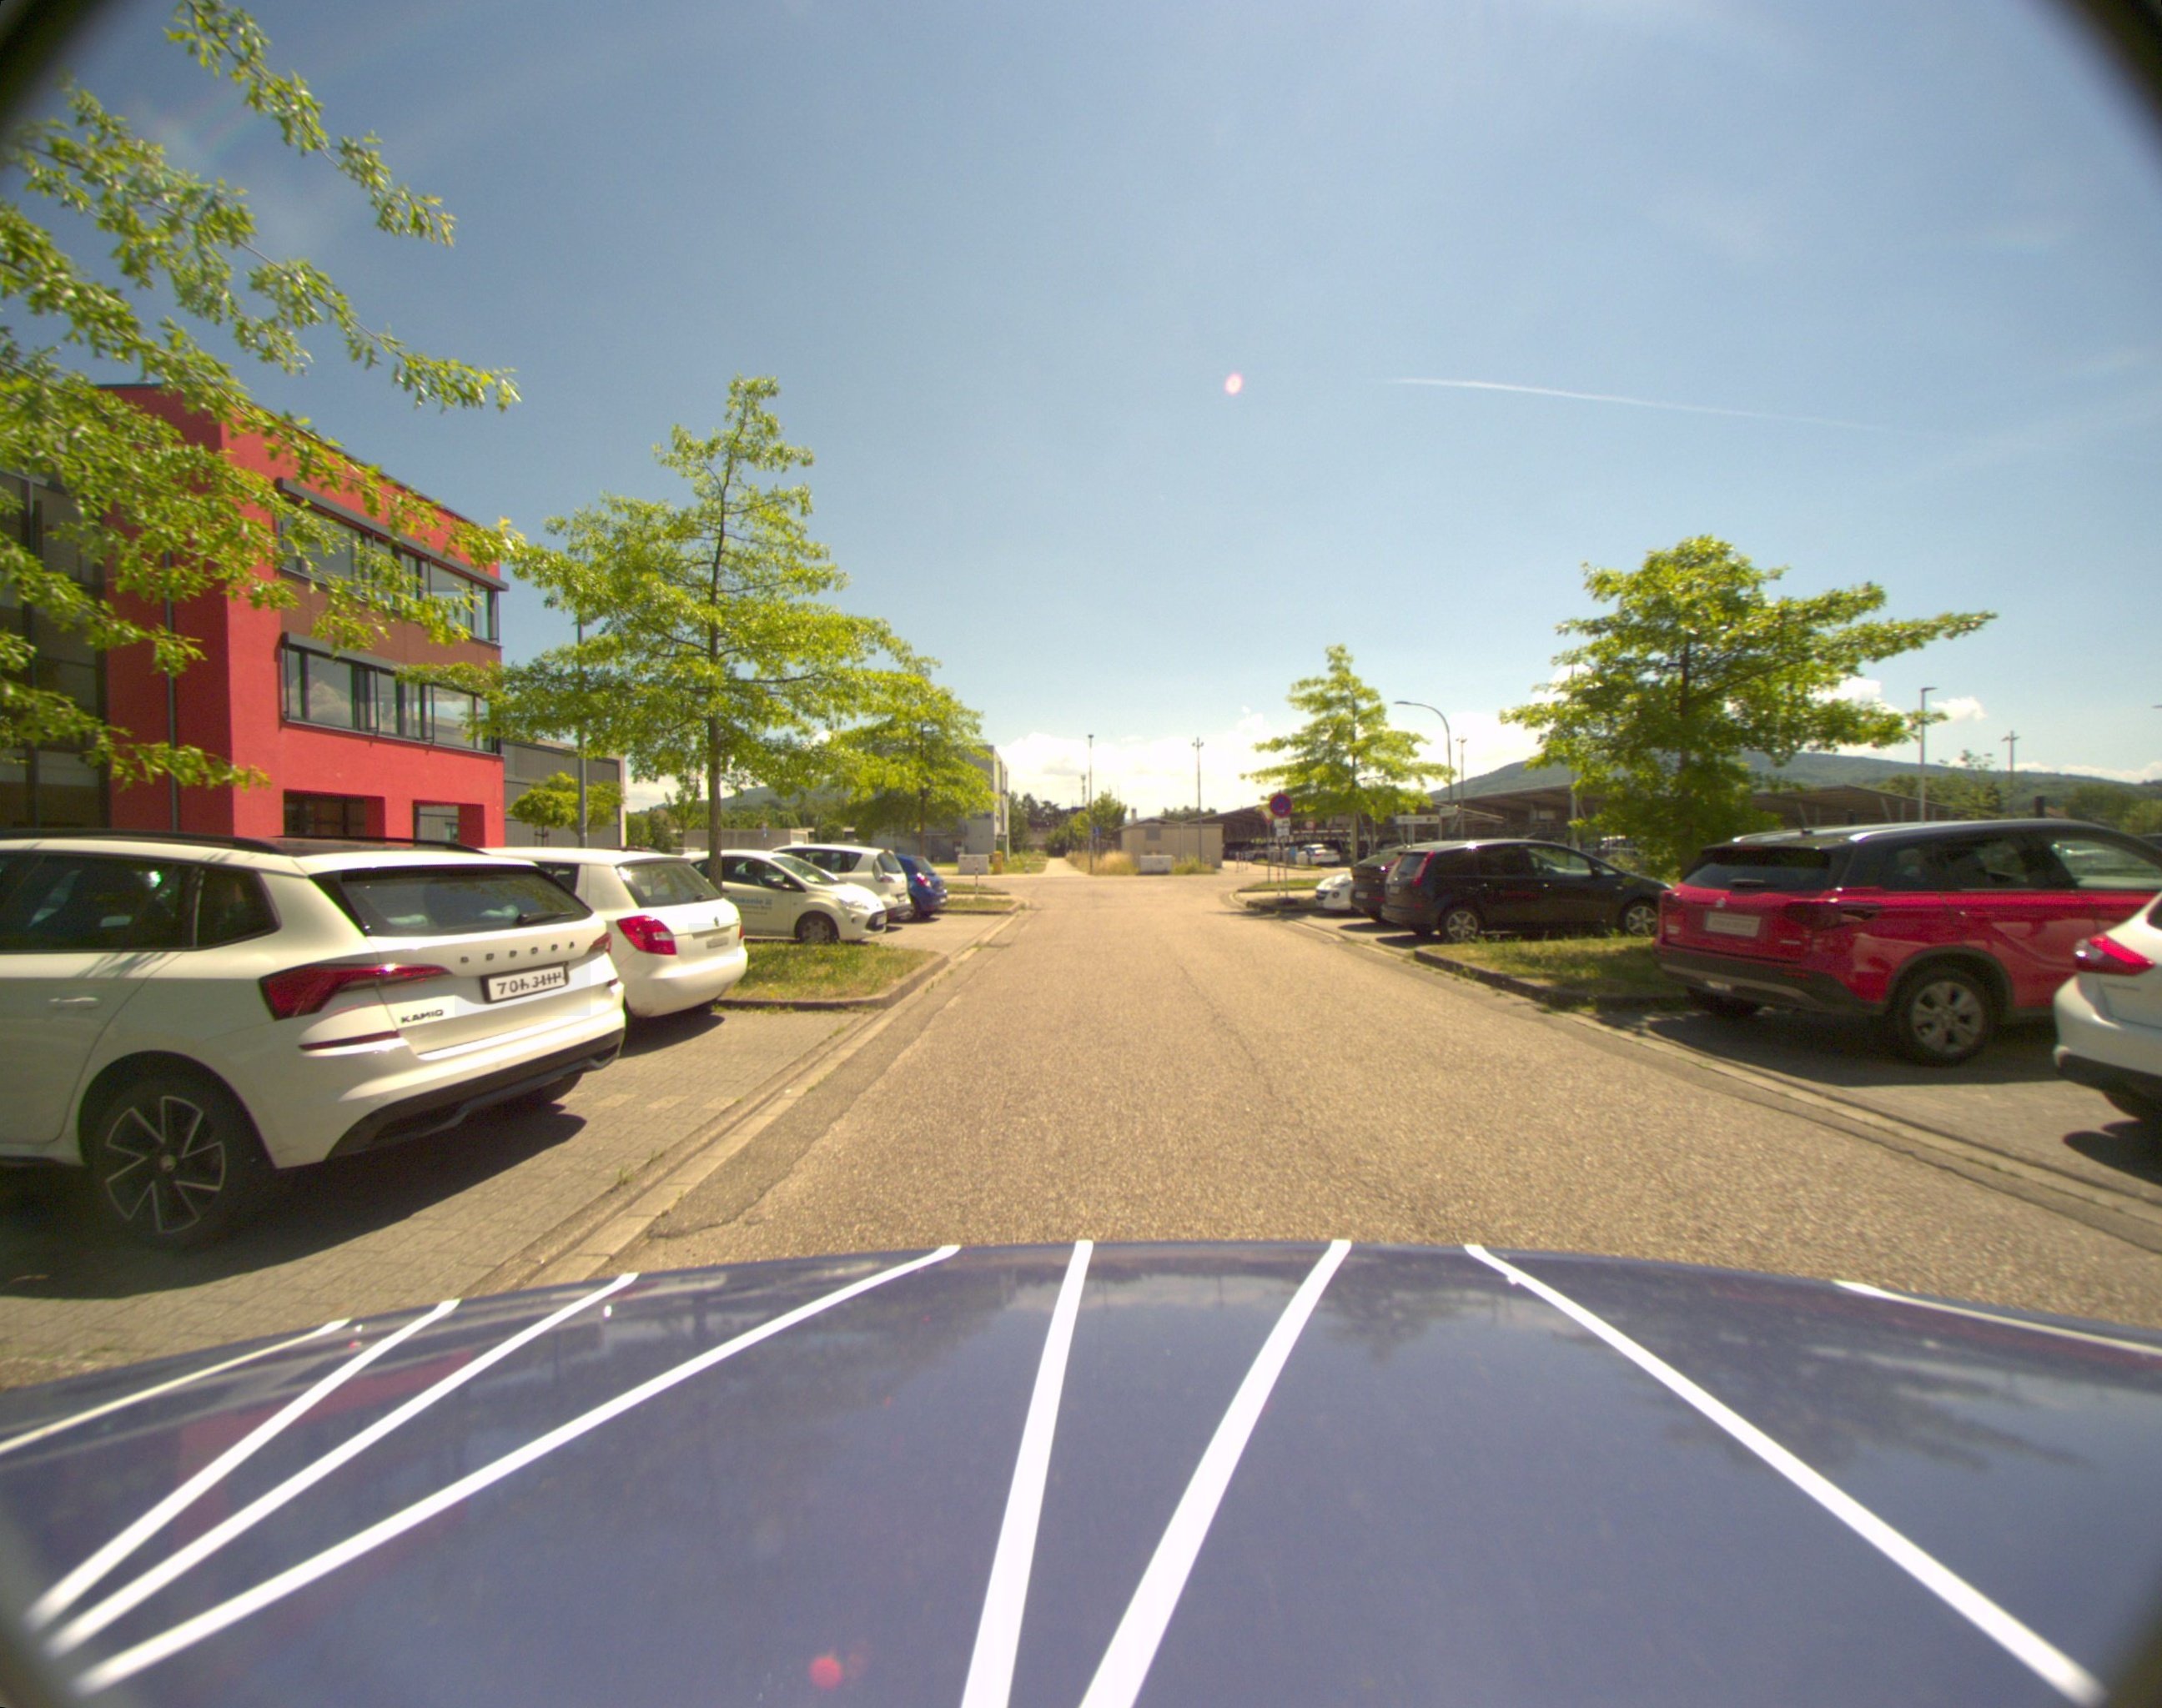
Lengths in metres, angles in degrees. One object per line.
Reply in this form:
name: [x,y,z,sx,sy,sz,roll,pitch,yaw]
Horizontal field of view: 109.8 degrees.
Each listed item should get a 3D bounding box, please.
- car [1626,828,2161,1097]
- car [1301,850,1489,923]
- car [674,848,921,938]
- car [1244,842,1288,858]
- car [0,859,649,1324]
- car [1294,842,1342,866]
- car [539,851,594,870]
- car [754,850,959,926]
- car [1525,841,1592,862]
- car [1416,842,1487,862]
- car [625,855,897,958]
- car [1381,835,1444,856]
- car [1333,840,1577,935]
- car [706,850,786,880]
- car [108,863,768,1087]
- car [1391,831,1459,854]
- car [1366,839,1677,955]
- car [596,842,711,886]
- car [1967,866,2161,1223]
car: [6.658,0.667,5.729,3.849,1.582,1.727,-2,1,-2]
car: [7.048,0.708,17.309,3.513,1.433,1.727,-2,0,0]
car: [-5.383,0.710,14.763,4.119,1.641,1.774,0,0,3]
car: [17.547,-0.386,72.172,3.774,1.428,1.723,-1,1,-3]
car: [-4.464,0.804,3.636,3.842,1.544,1.780,0,0,6]
car: [15.113,-0.020,48.680,1.723,1.428,3.774,-1,0,-4]
car: [-44.655,0.566,65.978,3.625,1.493,1.658,-1,3,1]
car: [-4.938,0.722,17.034,4.004,1.481,1.728,2,0,5]
car: [34.043,-0.206,54.217,3.774,1.428,1.723,-1,1,-3]
car: [23.764,-0.137,48.803,3.774,1.221,1.723,-1,1,-3]
car: [-4.963,0.782,12.096,3.626,1.454,1.611,1,0,3]
car: [23.489,-0.606,53.921,3.774,1.428,1.723,-1,1,-3]
car: [7.185,0.609,14.863,3.849,1.584,1.829,-2,1,-3]
car: [-18.634,0.594,42.371,3.626,1.493,1.682,-1,3,-1]
car: [-4.841,0.852,6.178,3.844,1.515,1.779,0,1,1]
car: [23.003,-0.760,50.826,3.774,1.428,1.723,-1,1,-3]
car: [6.861,0.647,12.186,3.915,1.582,1.728,-2,1,4]
car: [-18.724,0.449,33.397,3.997,1.764,1.811,-1,-1,0]
car: [6.746,0.753,3.016,4.182,1.504,1.807,-3,0,2]
